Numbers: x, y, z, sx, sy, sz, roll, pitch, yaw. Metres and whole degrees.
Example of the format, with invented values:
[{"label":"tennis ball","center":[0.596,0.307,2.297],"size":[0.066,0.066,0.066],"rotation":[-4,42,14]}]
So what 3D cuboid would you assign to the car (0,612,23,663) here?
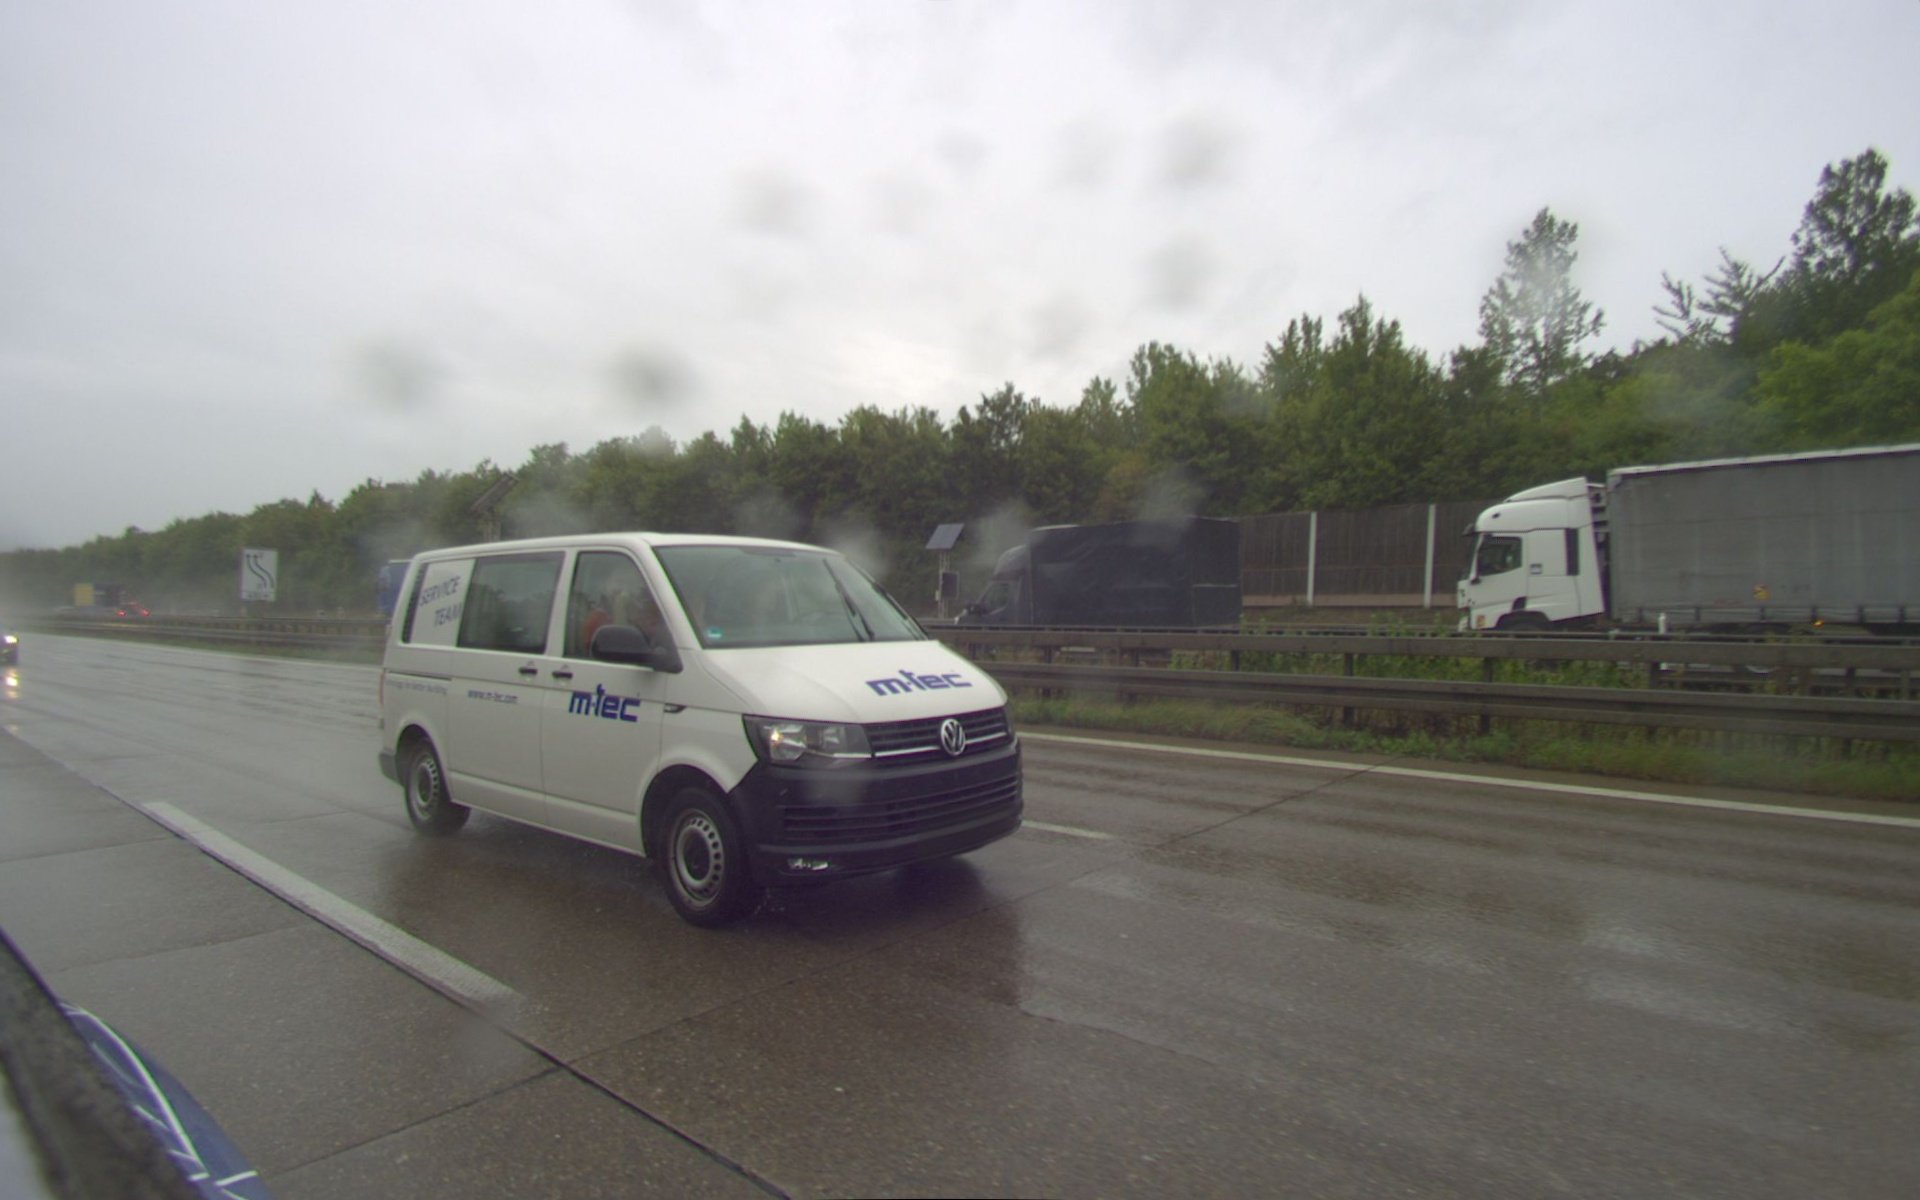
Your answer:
[{"label":"car","center":[-29.250,1.068,29.854],"size":[4.517,1.445,1.908],"rotation":[-1,-3,42]}]

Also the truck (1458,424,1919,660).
[{"label":"truck","center":[14.171,-0.929,19.558],"size":[7.678,3.830,2.745],"rotation":[-1,0,42]}]

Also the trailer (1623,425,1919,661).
[{"label":"trailer","center":[18.588,-0.991,15.555],"size":[13.774,3.830,2.738],"rotation":[-1,0,42]}]

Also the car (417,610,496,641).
[{"label":"car","center":[-23.825,1.186,47.811],"size":[4.422,1.349,1.734],"rotation":[-1,0,41]}]

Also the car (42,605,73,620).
[{"label":"car","center":[-90.014,1.246,100.962],"size":[4.422,1.349,1.734],"rotation":[-1,0,41]}]

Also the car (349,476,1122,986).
[{"label":"car","center":[-1.698,0.532,6.134],"size":[5.038,1.908,1.881],"rotation":[-1,-1,39]}]

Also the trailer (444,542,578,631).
[{"label":"trailer","center":[-22.973,-0.596,51.544],"size":[8.520,4.185,2.819],"rotation":[-1,0,41]}]

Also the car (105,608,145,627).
[{"label":"car","center":[-71.787,1.512,86.992],"size":[5.267,1.543,1.734],"rotation":[-1,0,41]}]

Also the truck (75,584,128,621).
[{"label":"truck","center":[-90.534,0.303,106.671],"size":[9.791,3.728,2.559],"rotation":[-1,0,40]}]

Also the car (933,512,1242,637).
[{"label":"car","center":[2.802,-0.489,24.261],"size":[7.444,2.586,2.160],"rotation":[-1,0,42]}]

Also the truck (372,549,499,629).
[{"label":"truck","center":[-30.069,-0.543,57.721],"size":[10.172,4.185,2.819],"rotation":[-1,0,41]}]
